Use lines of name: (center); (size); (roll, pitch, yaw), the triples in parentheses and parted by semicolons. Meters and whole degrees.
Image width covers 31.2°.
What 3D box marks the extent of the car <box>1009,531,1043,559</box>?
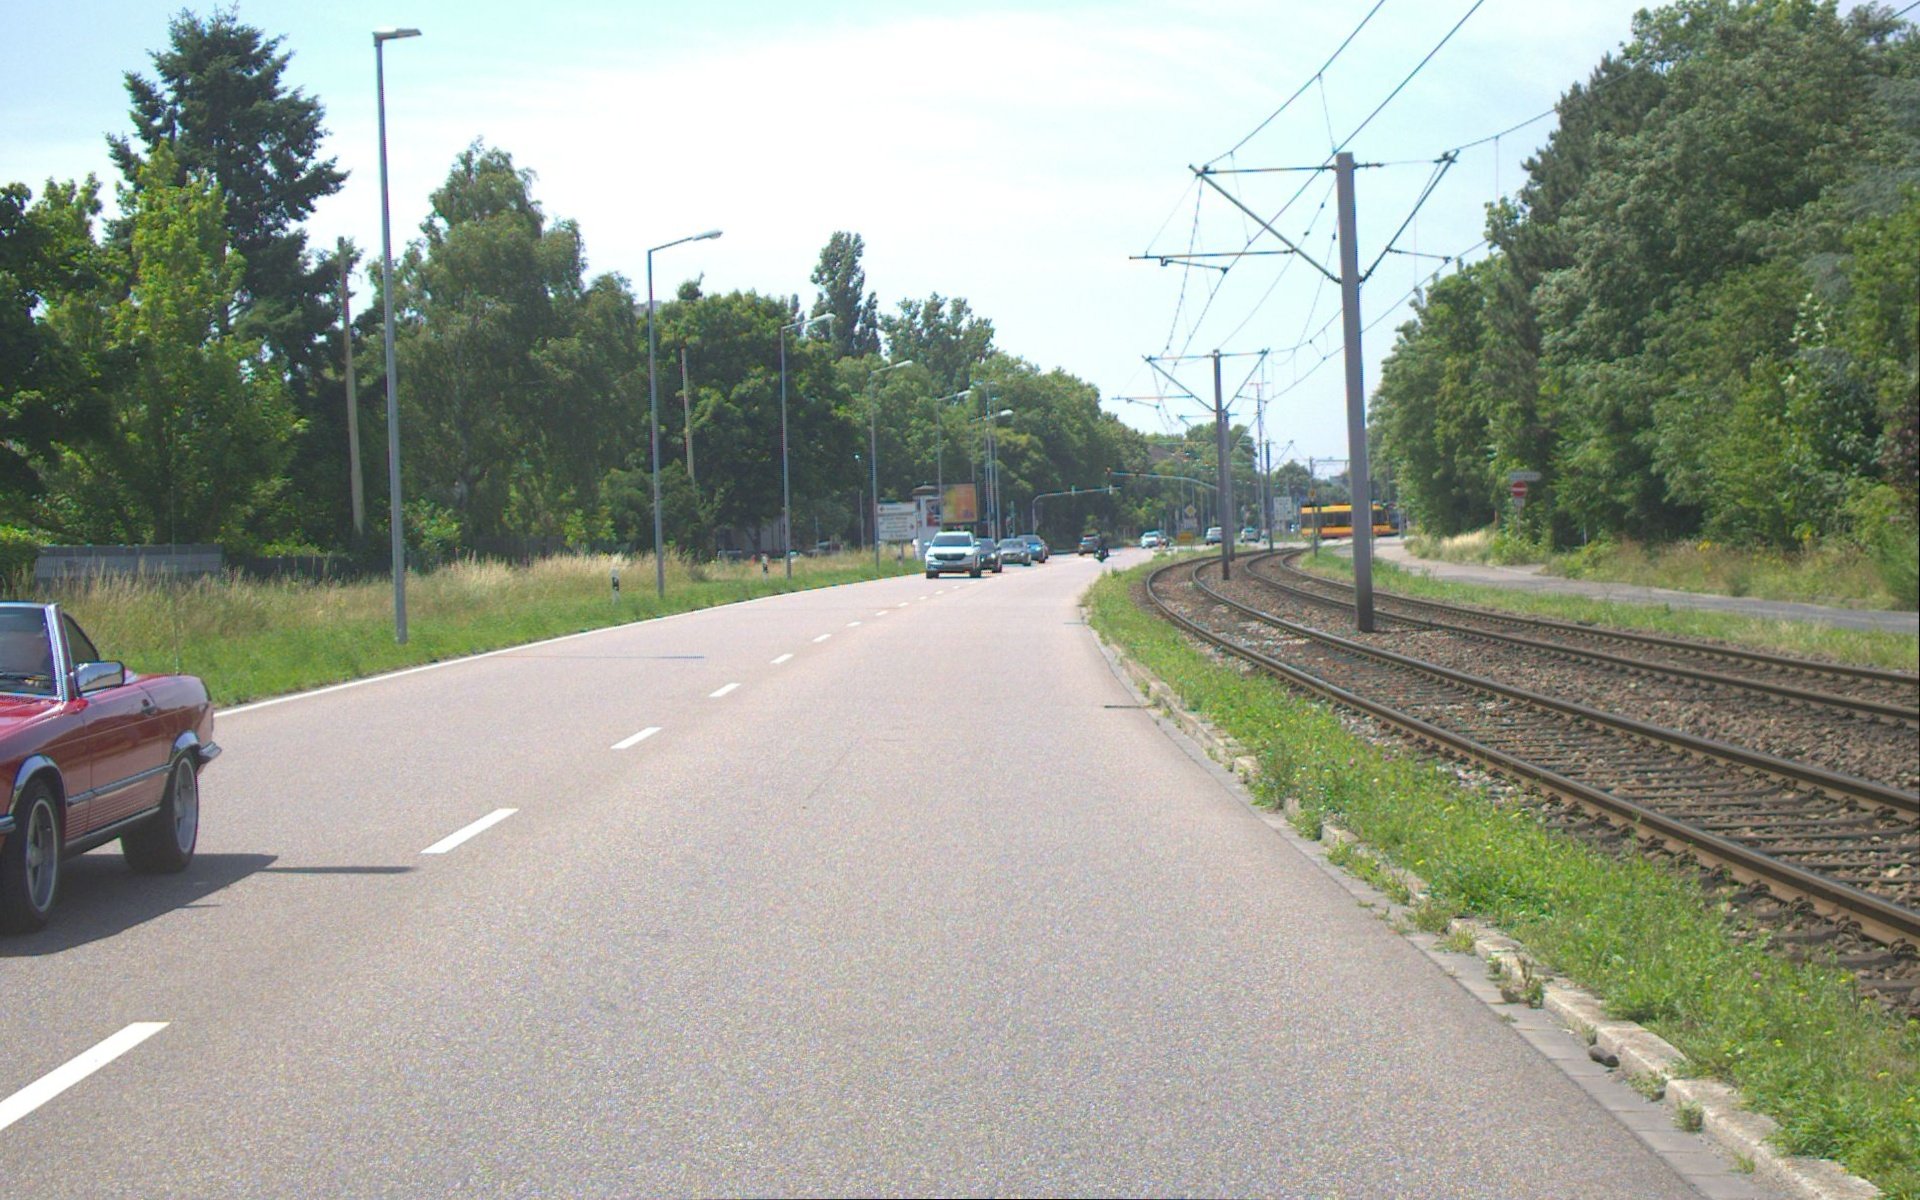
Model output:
car: (3.664, -3.042, 190.158); (1.817, 1.532, 4.363); (-1, 1, 2)

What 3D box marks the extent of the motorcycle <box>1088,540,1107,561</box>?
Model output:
motorcycle: (7.658, -2.755, 191.554); (0.970, 1.114, 2.732); (-1, 1, 3)

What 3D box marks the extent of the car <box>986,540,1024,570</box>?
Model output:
car: (2.282, -2.269, 175.073); (1.817, 1.488, 4.363); (-1, 1, 2)

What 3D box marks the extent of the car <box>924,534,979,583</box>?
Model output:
car: (-0.303, -1.571, 131.079); (1.935, 1.790, 4.711); (-1, 1, 2)

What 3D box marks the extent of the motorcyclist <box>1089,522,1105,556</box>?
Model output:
motorcyclist: (7.634, -3.386, 191.546); (0.891, 1.898, 1.015); (-1, 0, 3)

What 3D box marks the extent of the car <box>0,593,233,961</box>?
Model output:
car: (-4.383, 0.649, 14.519); (1.749, 1.296, 4.253); (-1, 1, -1)
